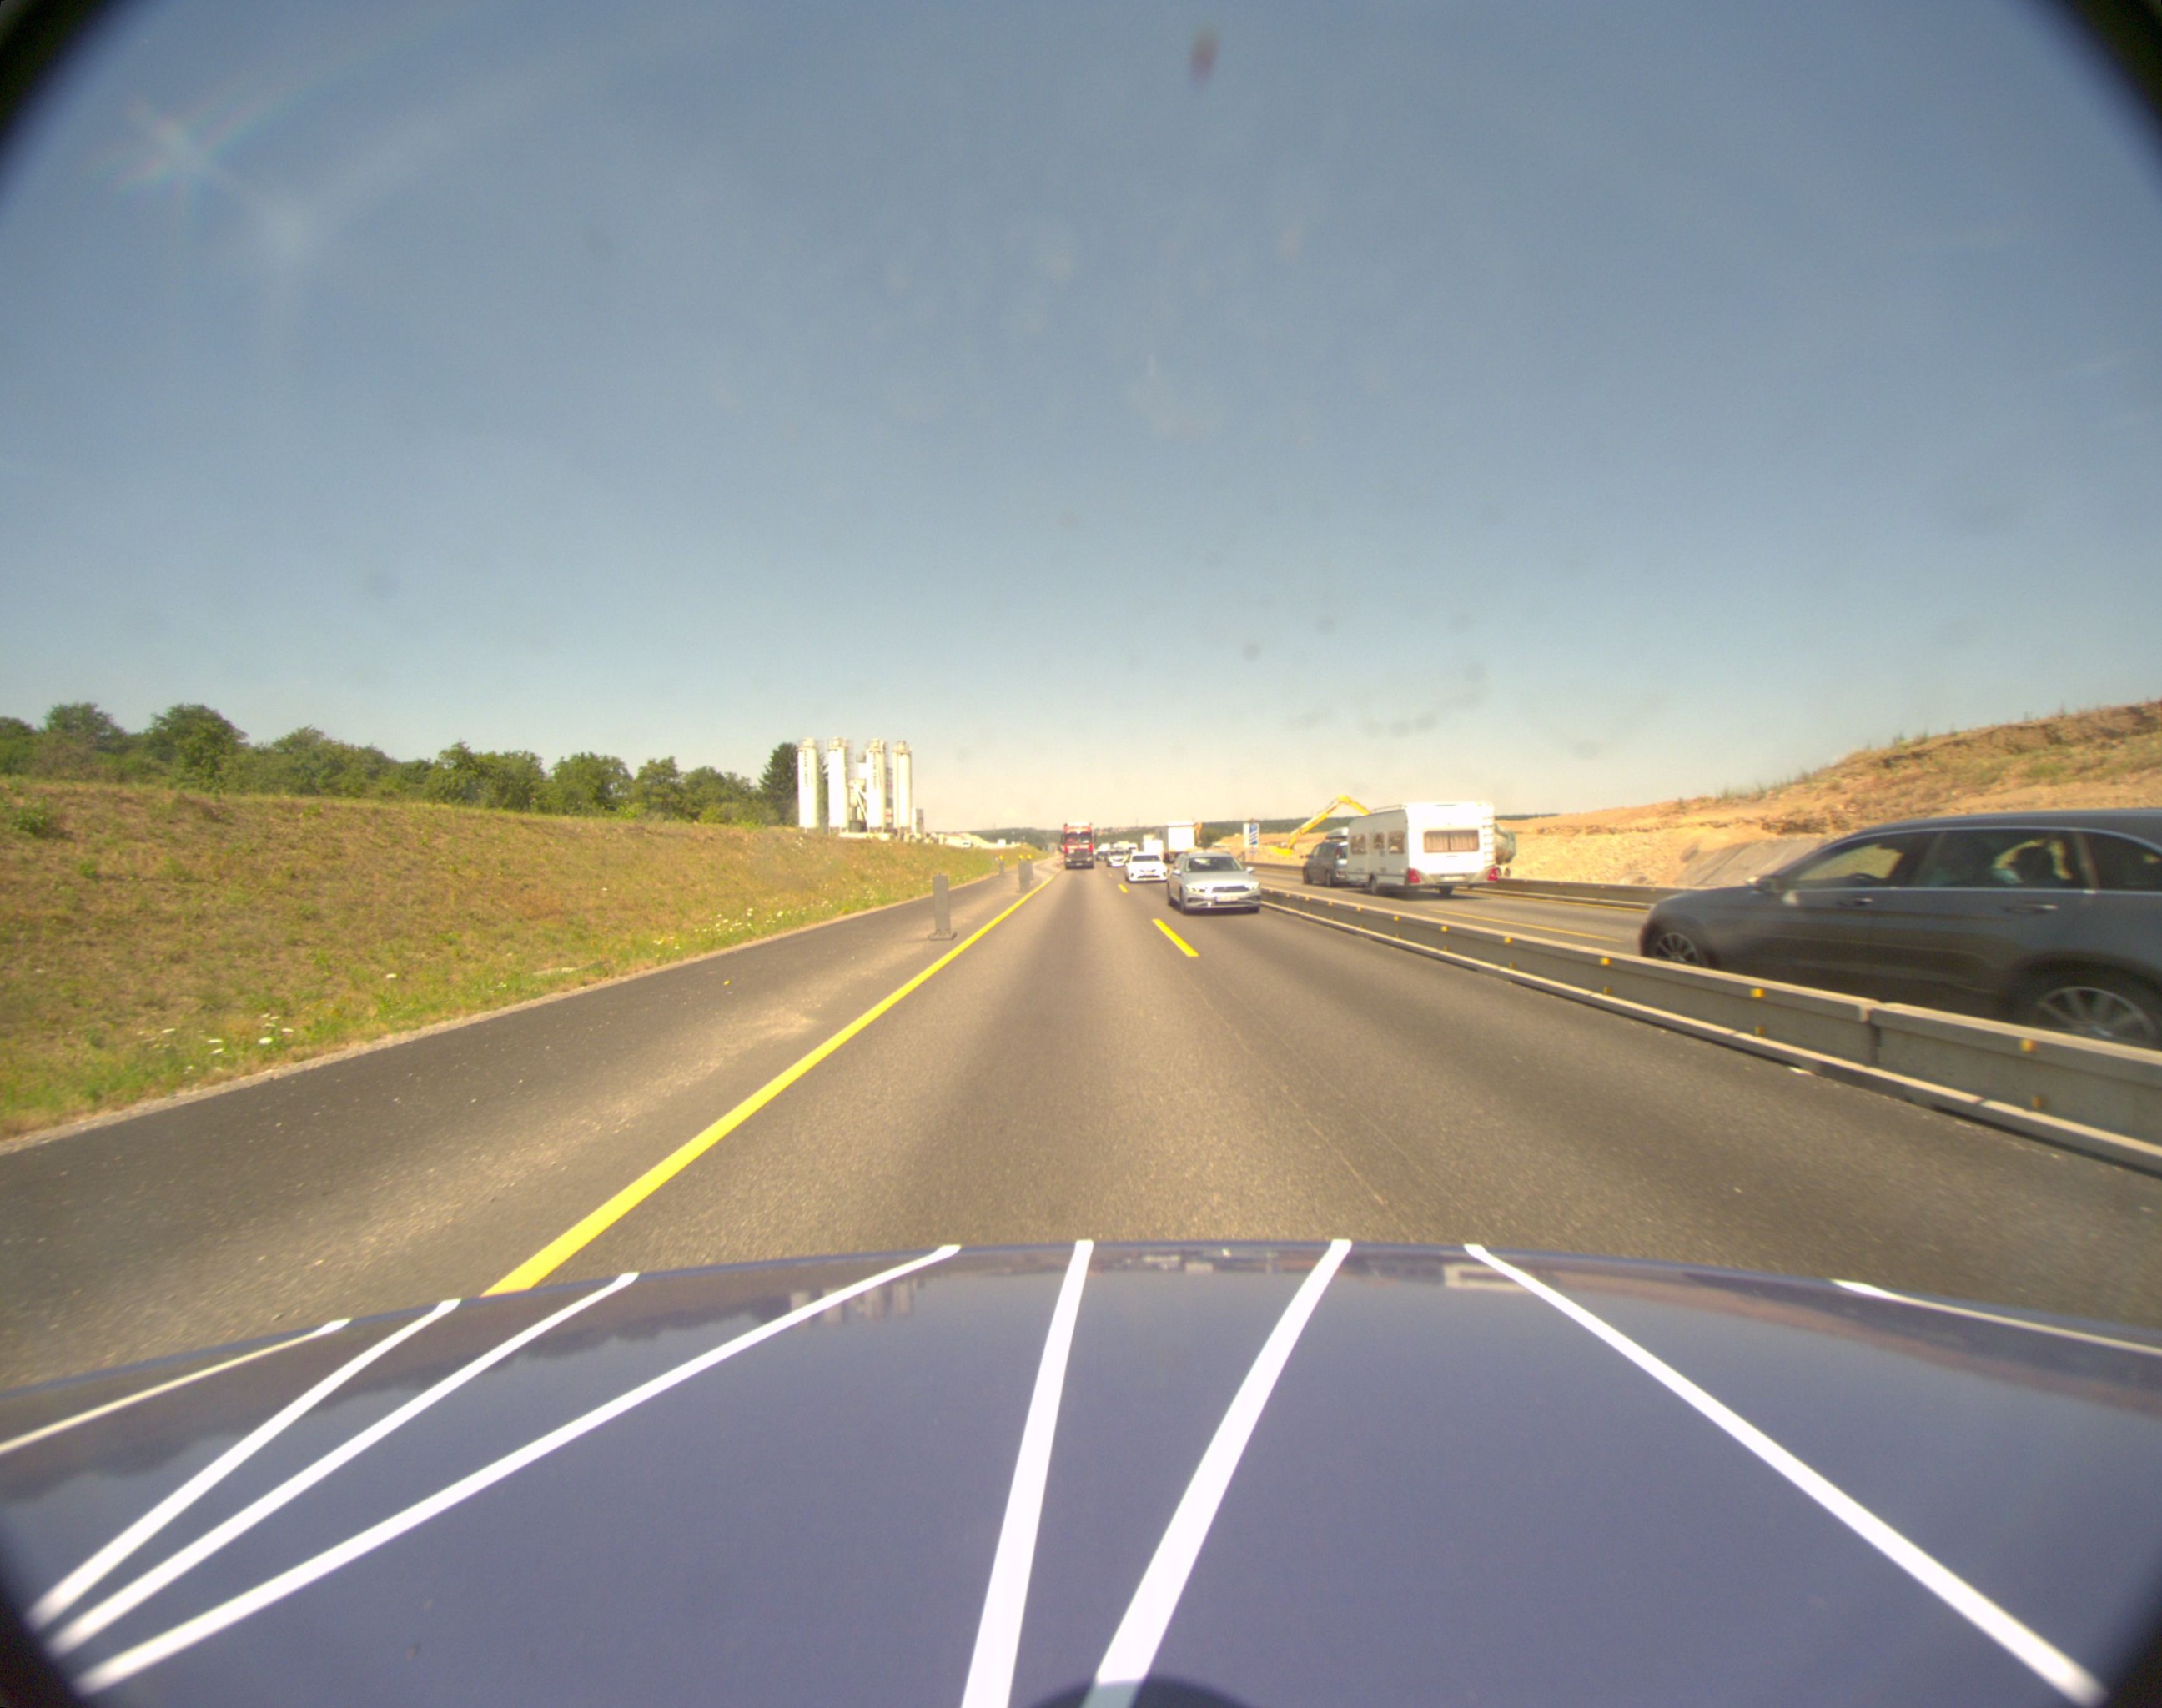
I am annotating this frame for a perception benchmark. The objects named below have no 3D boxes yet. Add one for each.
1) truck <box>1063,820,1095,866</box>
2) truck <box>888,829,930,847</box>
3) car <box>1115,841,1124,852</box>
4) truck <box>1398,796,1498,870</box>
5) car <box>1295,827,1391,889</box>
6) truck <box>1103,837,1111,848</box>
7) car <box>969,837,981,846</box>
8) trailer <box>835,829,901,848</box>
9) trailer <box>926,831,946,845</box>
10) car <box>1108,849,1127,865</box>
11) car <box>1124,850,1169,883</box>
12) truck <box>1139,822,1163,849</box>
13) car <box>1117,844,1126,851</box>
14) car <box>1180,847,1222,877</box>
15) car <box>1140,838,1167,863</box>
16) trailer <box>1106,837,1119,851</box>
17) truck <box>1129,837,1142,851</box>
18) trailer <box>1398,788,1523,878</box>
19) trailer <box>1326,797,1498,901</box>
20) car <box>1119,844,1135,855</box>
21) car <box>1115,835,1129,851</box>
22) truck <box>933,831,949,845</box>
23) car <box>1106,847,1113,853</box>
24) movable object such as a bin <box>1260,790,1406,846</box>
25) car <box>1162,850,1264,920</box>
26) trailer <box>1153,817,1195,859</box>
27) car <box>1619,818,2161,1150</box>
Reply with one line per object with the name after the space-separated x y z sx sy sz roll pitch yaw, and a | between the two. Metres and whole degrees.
-0.096 -1.031 68.871 2.537 3.799 9.480 -2 1 1 | truck
-25.602 -2.392 112.957 5.317 2.530 2.897 -3 2 -36 | truck
11.161 -2.269 219.110 2.257 2.939 5.847 -2 1 1 | car
16.172 -0.927 33.816 2.583 2.947 5.064 -2 1 9 | truck
9.748 0.100 28.762 1.998 2.143 4.863 0 1 1 | car
7.459 -3.382 217.390 2.276 3.132 7.313 -2 1 2 | truck
-23.828 -2.792 170.815 1.990 1.752 3.601 -2 1 0 | car
-31.082 -2.266 111.317 8.919 2.592 2.463 -1 1 -3 | trailer
-27.783 -3.060 145.863 1.998 2.629 6.936 -2 1 4 | trailer
3.348 0.265 70.128 1.601 1.390 3.695 -2 1 1 | car
3.127 0.552 37.048 1.875 1.390 4.029 -2 1 1 | car
10.040 -2.661 109.988 2.651 3.695 9.480 -2 1 1 | truck
8.678 -1.352 162.560 1.631 1.476 4.052 -2 1 1 | car
6.697 0.410 42.649 1.693 1.493 3.975 -2 1 0 | car
6.997 -0.367 73.764 1.999 2.279 5.342 -2 1 0 | car
10.897 -3.602 262.646 2.994 4.570 12.876 -2 1 -4 | trailer
11.267 -2.104 158.224 2.103 2.554 6.354 -3 -1 0 | truck
19.302 -1.098 38.319 8.385 4.075 2.792 -3 2 -43 | trailer
9.640 -0.145 23.012 2.317 2.671 6.755 0 1 0 | trailer
7.096 -0.716 117.342 1.862 1.434 4.499 -2 1 -3 | car
10.352 -2.679 191.368 2.915 3.718 8.090 -2 0 1 | car
-27.528 -3.114 149.603 2.021 2.531 4.041 -2 1 4 | truck
7.590 -0.981 201.013 1.793 1.473 4.560 -2 1 1 | car
33.739 -4.792 102.092 18.266 6.734 3.387 -2 2 0 | movable object such as a bin
3.196 0.687 19.157 1.804 1.499 4.100 -2 0 0 | car
9.719 -1.682 81.105 2.861 4.070 13.649 -1 1 0 | trailer
6.158 0.596 5.197 1.693 1.604 4.592 -2 1 0 | car
